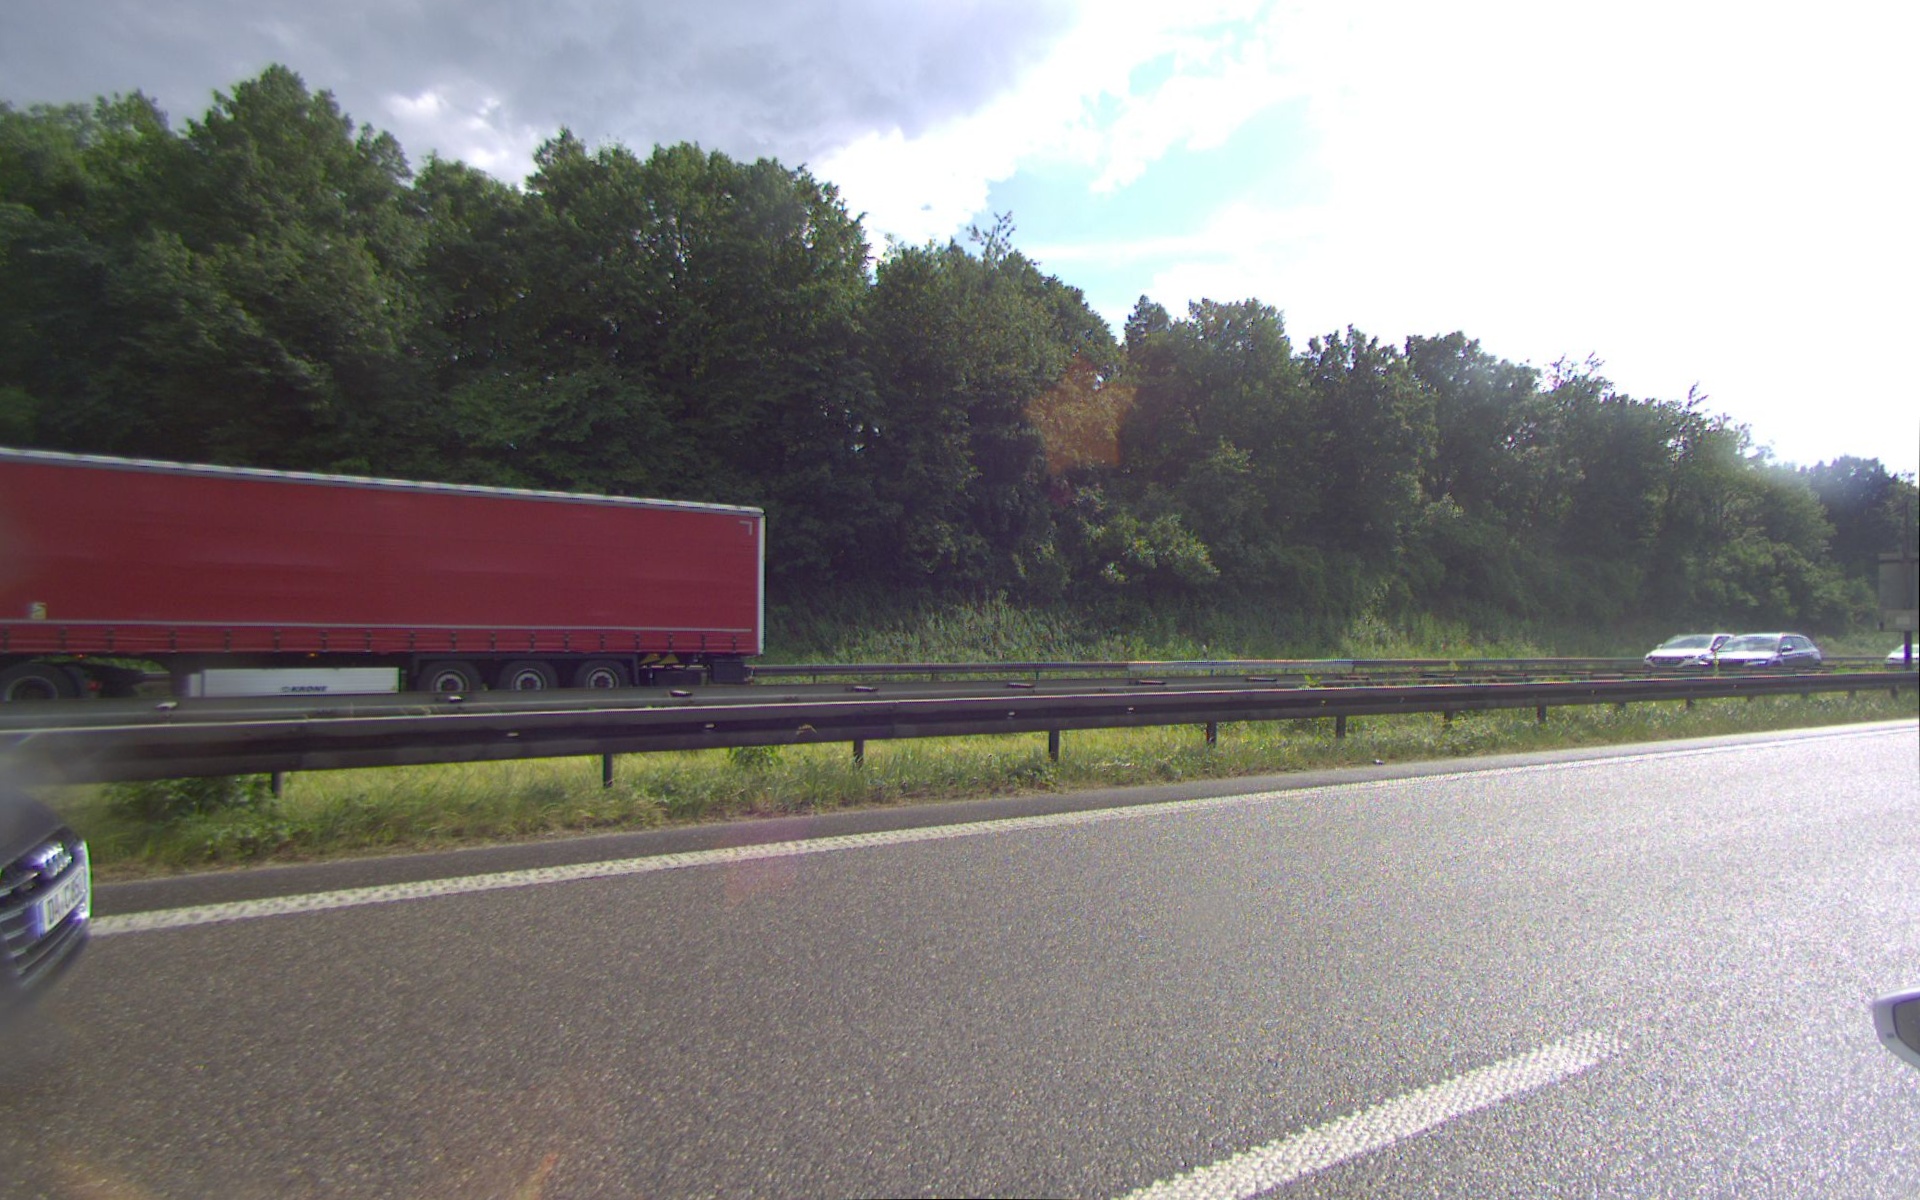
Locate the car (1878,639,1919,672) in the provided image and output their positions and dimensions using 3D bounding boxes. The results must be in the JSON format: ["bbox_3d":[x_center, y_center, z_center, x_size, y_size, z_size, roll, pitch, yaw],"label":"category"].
[{"bbox_3d":[51.871,3.007,54.653,4.187,1.685,1.722,2,0,-31],"label":"car"}]

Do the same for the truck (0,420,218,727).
[{"bbox_3d":[-15.638,-0.423,15.130,6.789,4.431,2.849,2,0,-31],"label":"truck"}]

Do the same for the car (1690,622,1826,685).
[{"bbox_3d":[23.201,1.528,29.177,4.187,1.685,1.722,2,0,-31],"label":"car"}]

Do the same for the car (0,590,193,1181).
[{"bbox_3d":[-4.766,0.637,2.095,4.782,1.437,1.786,2,0,-30],"label":"car"}]

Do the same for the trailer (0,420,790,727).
[{"bbox_3d":[-10.251,-0.245,18.388,13.931,4.431,2.848,2,0,-31],"label":"trailer"}]

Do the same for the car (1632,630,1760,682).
[{"bbox_3d":[25.948,1.945,35.379,4.644,1.685,2.006,2,0,-31],"label":"car"}]
